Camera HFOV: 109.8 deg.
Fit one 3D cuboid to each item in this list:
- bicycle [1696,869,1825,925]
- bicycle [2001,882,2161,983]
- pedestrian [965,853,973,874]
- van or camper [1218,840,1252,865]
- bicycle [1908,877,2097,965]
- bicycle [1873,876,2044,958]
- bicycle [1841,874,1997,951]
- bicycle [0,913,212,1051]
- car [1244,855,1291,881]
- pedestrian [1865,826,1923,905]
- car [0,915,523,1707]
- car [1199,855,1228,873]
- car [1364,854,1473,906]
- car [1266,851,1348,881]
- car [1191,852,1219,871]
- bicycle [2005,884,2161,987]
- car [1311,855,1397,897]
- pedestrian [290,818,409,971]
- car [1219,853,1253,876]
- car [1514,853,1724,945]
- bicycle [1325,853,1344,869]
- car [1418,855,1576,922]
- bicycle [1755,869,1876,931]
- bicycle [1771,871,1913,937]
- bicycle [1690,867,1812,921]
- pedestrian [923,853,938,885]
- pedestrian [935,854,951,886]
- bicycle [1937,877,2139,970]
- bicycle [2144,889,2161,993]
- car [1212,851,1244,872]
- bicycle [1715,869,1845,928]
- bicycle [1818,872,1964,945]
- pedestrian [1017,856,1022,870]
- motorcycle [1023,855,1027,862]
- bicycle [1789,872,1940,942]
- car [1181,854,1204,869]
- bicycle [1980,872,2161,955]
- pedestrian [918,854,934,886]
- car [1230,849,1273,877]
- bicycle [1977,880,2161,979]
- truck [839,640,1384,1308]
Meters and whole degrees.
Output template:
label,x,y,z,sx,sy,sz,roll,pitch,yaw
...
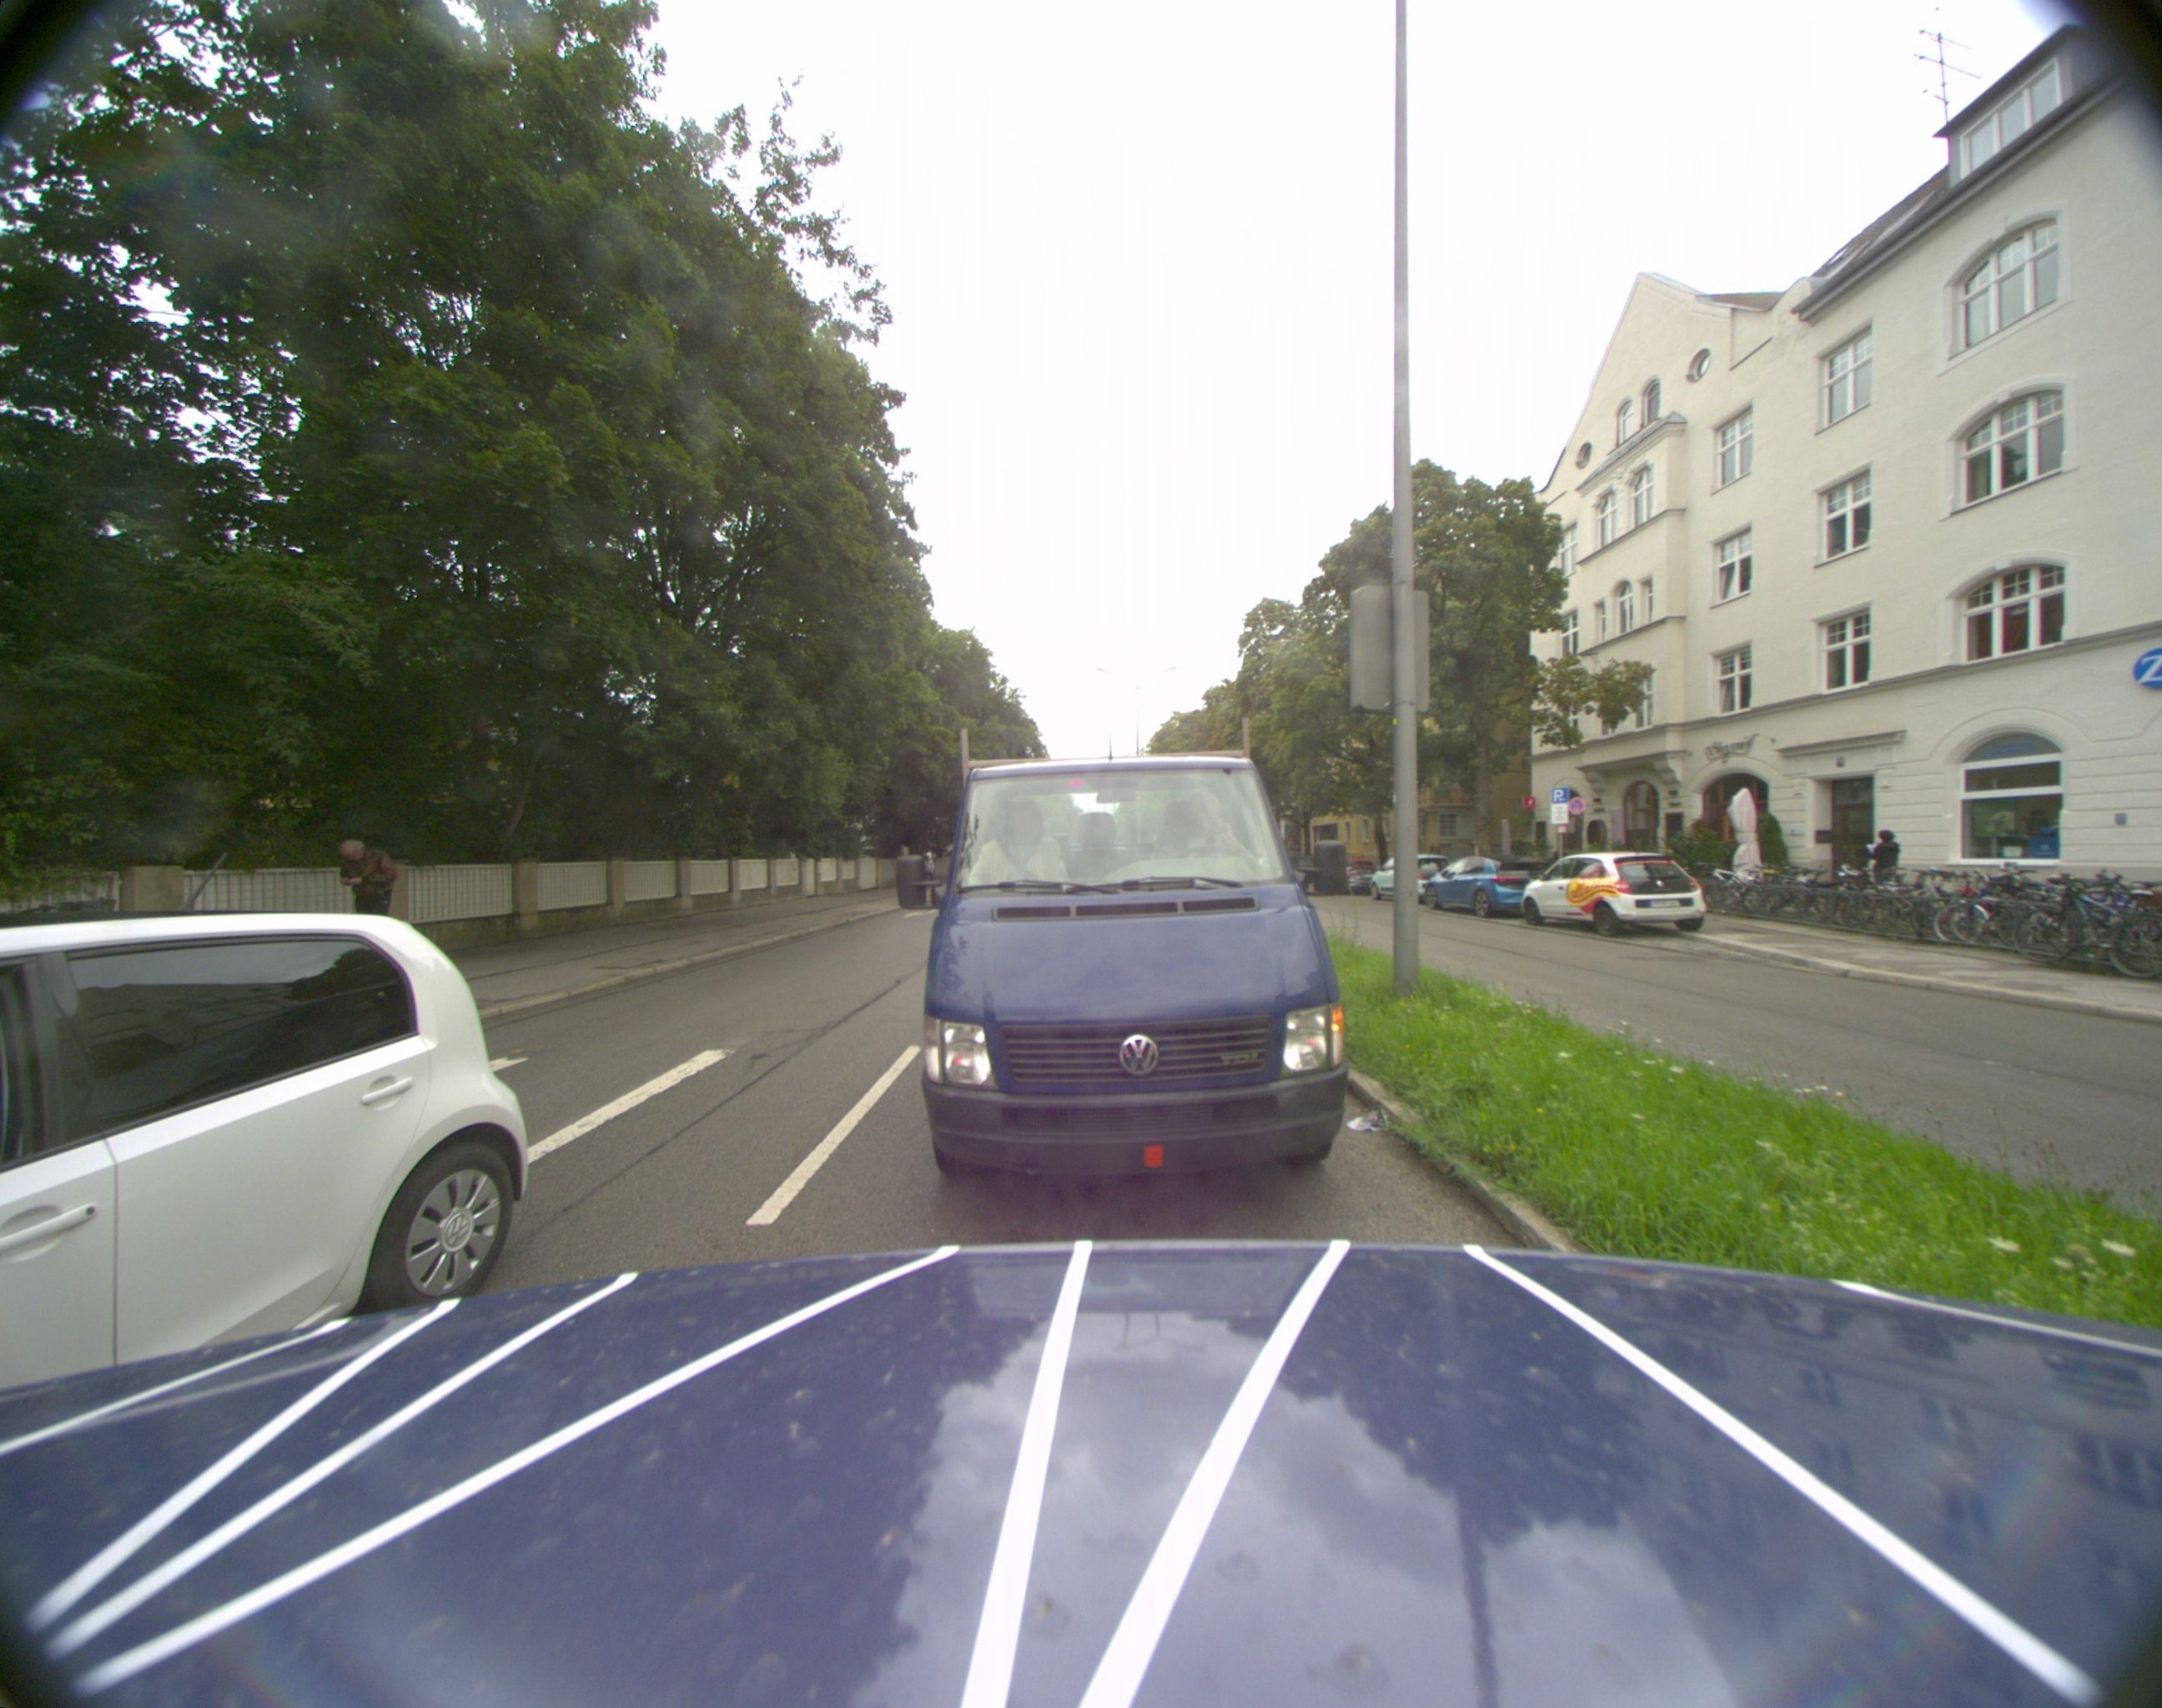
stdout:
label,x,y,z,sx,sy,sz,roll,pitch,yaw
bicycle,14.459,0.883,16.236,0.505,1.109,1.984,-1,0,-31
bicycle,12.408,0.922,9.145,0.331,1.109,1.678,-1,0,-23
pedestrian,-8.537,0.737,57.850,0.529,1.572,0.729,1,1,0
van or camper,17.116,-0.166,84.759,2.351,2.564,6.851,-1,0,1
bicycle,13.034,0.903,10.819,0.383,1.109,1.678,-1,0,-23
bicycle,13.227,0.912,11.517,0.331,1.109,1.678,-1,0,-23
bicycle,13.431,0.897,12.243,0.331,1.109,1.678,-1,0,-23
bicycle,-9.847,1.199,7.304,0.624,1.084,2.026,-1,0,0
car,10.956,0.790,44.973,1.731,1.394,4.404,-1,0,1
pedestrian,17.107,0.237,16.003,0.422,1.622,0.783,-1,1,7
car,-3.002,1.032,1.148,1.647,1.553,3.586,-1,0,0
car,11.091,0.781,63.839,1.731,1.398,4.363,-1,0,1
car,10.842,0.773,24.733,1.815,1.498,3.960,-1,0,1
car,12.248,0.628,41.394,3.899,1.455,1.732,-2,0,-1
car,11.330,0.667,69.704,1.883,1.636,4.770,-1,0,1
bicycle,12.105,0.932,8.846,0.368,1.109,1.678,-1,0,-23
car,10.837,0.805,30.528,1.815,1.498,4.645,-1,0,1
pedestrian,-9.600,0.512,10.002,0.779,1.931,0.802,0,1,1
car,11.194,0.728,54.969,1.731,1.549,3.009,-1,0,-1
car,10.571,0.794,15.303,1.653,1.576,3.790,-1,0,2
bicycle,19.327,0.528,57.897,0.771,1.215,1.930,-1,0,0
car,10.721,0.817,19.981,1.815,1.498,4.291,-1,0,1
bicycle,14.211,0.863,14.760,0.331,1.109,1.677,-1,0,-27
bicycle,14.007,0.880,14.058,0.331,1.109,1.871,-1,0,-23
bicycle,14.750,0.850,16.791,0.460,1.109,1.961,-1,0,-31
pedestrian,-8.142,0.796,41.129,0.668,1.695,0.766,1,1,0
pedestrian,-7.470,0.858,41.154,0.668,1.695,0.766,1,1,0
bicycle,12.841,0.884,10.271,0.331,1.109,1.678,-1,0,-23
bicycle,12.097,0.941,7.599,0.331,1.109,1.678,-1,0,-23
car,11.332,0.555,58.920,1.731,1.552,4.057,-1,0,1
bicycle,14.263,0.876,15.567,0.550,1.109,1.877,-1,0,-31
bicycle,13.631,0.883,12.850,0.331,1.109,1.678,-1,0,-23
pedestrian,-6.869,0.988,84.660,0.529,1.572,0.729,1,1,0
motorcycle,-8.923,0.720,121.536,0.497,1.135,1.631,-1,0,-10
bicycle,13.821,0.897,13.479,0.331,1.109,1.871,-1,0,-23
car,11.098,0.740,75.730,1.696,1.446,4.492,-1,0,1
bicycle,14.770,0.842,11.374,0.331,1.109,1.678,-1,0,-23
pedestrian,-8.390,0.848,41.074,0.668,1.695,0.766,1,1,0
car,11.234,0.564,50.477,1.815,1.718,4.767,-1,0,1
bicycle,12.651,0.918,9.609,0.367,1.109,1.678,-1,0,-23
truck,0.156,0.450,5.415,1.998,2.475,5.151,-1,0,1
